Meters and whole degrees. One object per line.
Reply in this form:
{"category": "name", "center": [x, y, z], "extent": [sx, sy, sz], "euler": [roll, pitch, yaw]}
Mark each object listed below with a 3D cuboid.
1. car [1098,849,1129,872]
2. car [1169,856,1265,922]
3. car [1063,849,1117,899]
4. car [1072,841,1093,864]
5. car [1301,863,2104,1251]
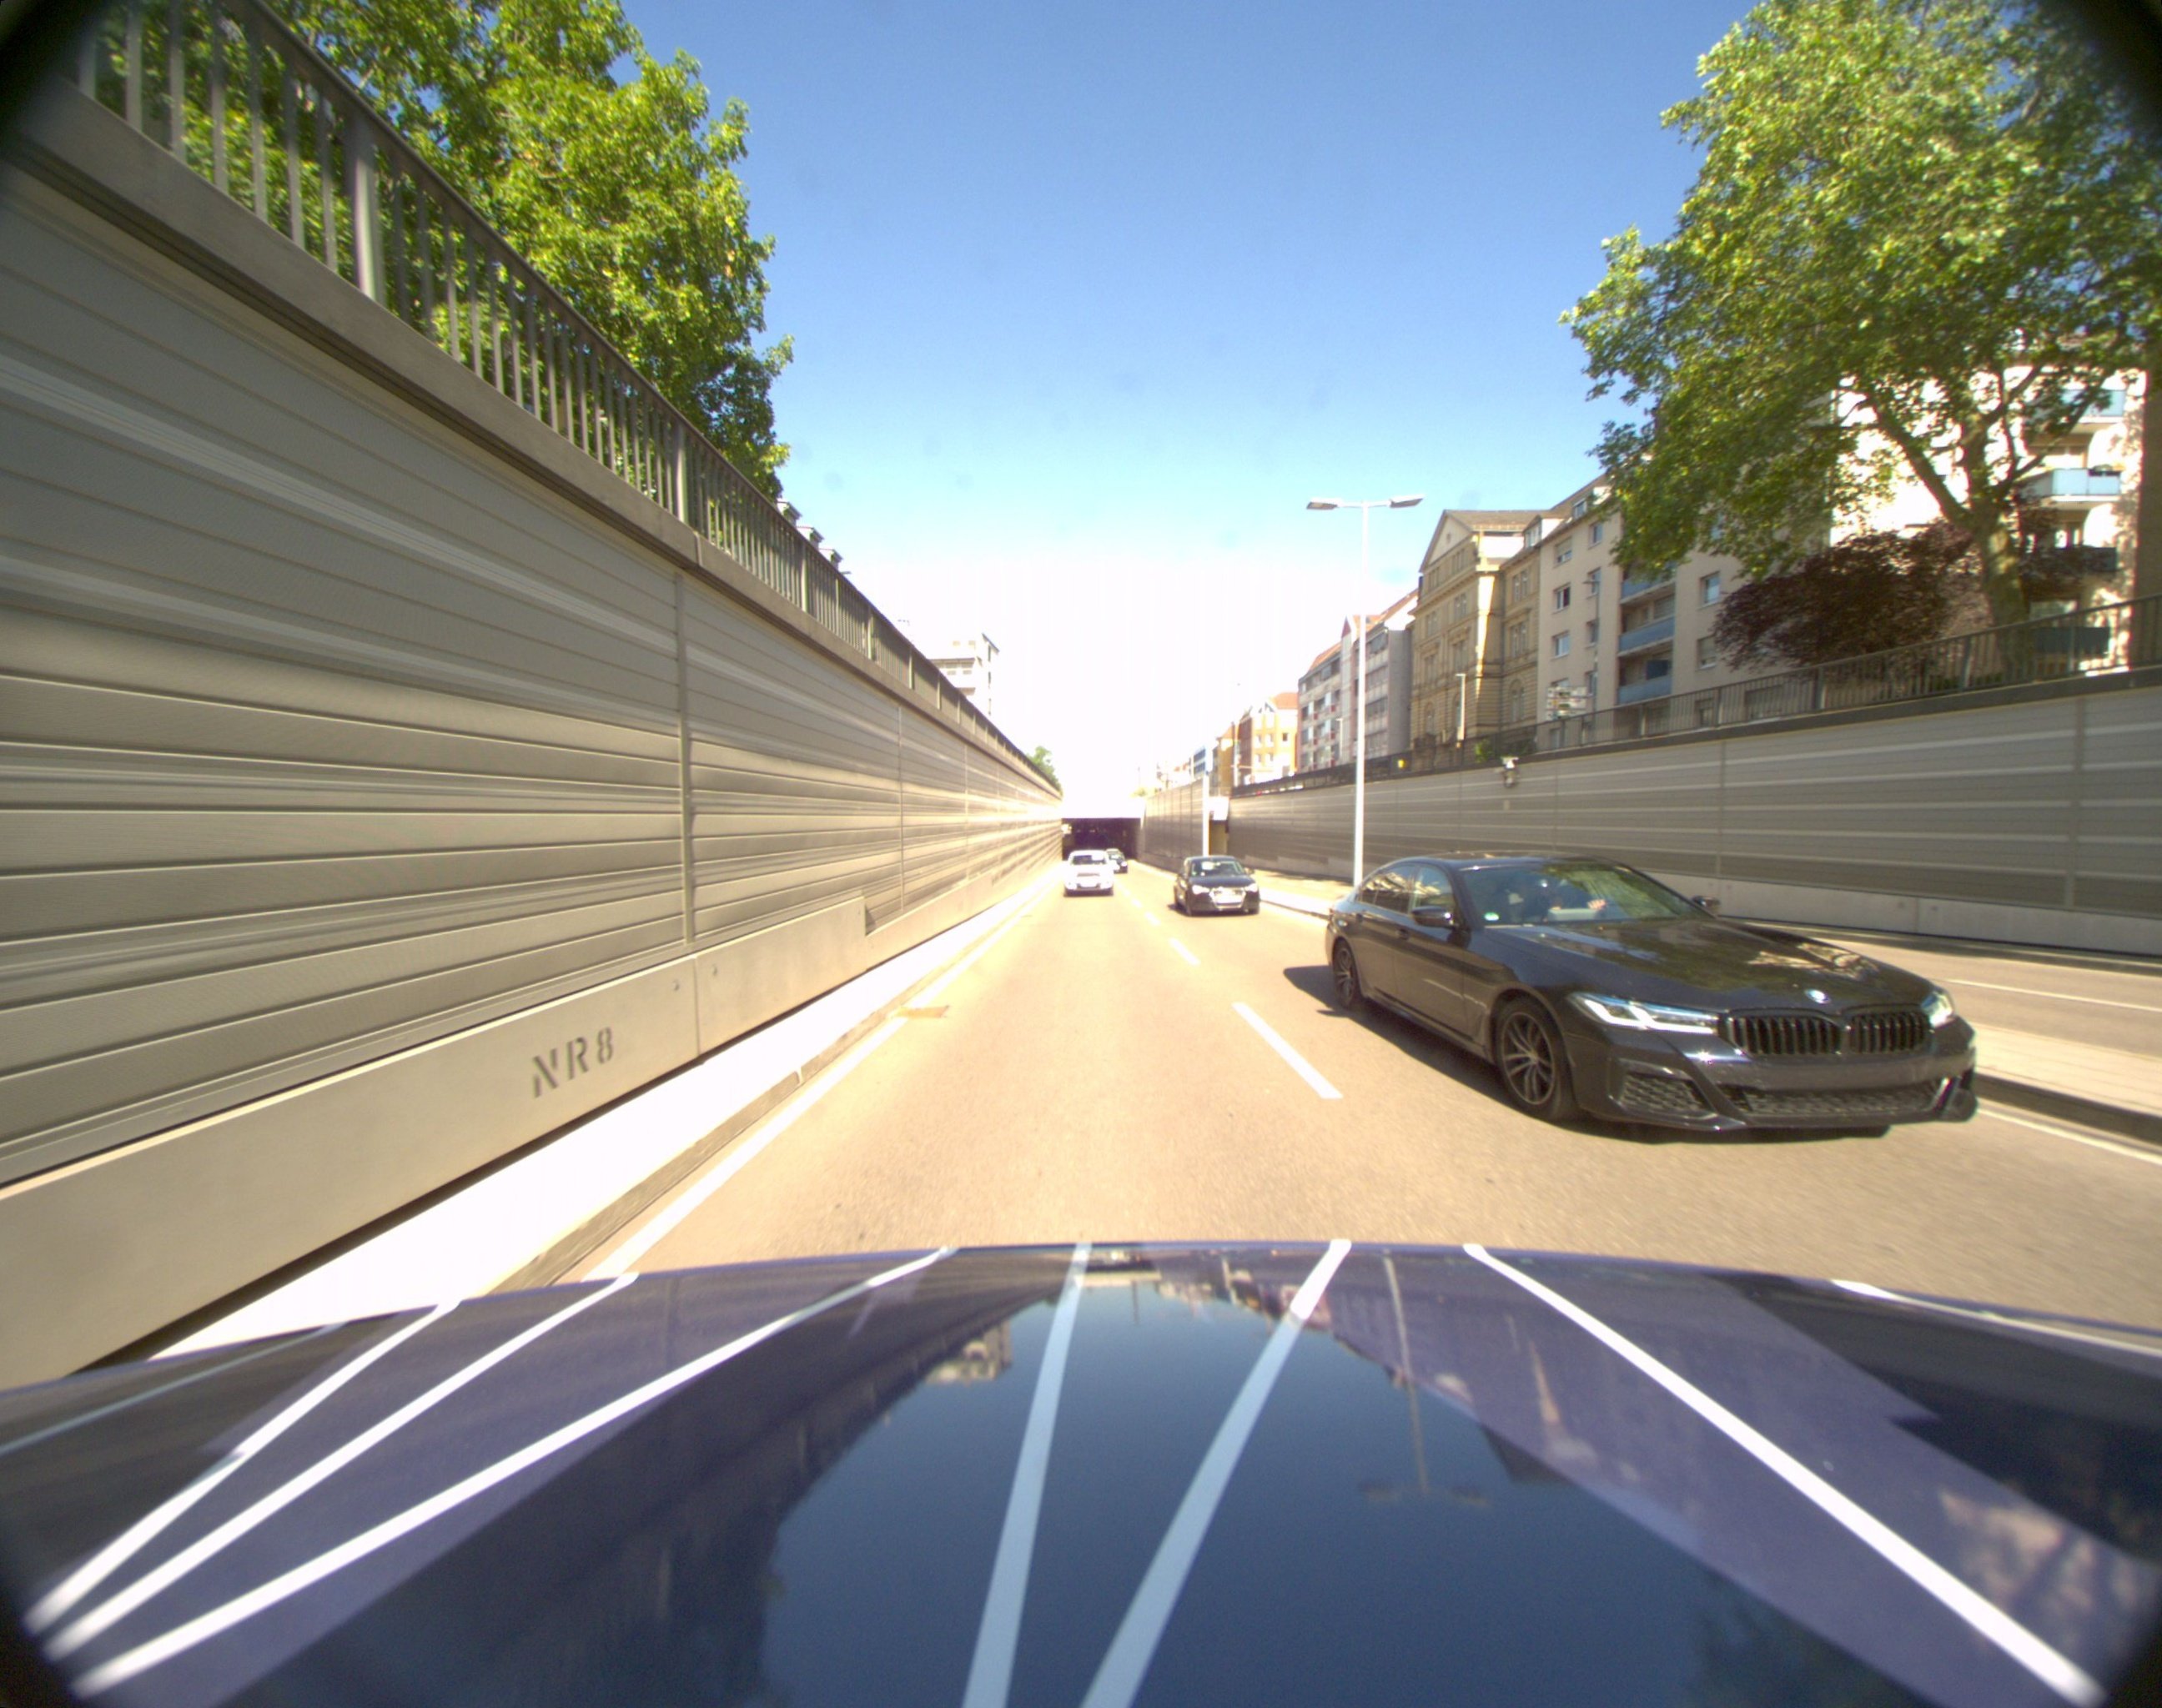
{"category": "car", "center": [2.243, 0.442, 53.041], "extent": [1.998, 1.407, 3.999], "euler": [-2, 1, 1]}
{"category": "car", "center": [3.293, 0.794, 19.063], "extent": [1.700, 1.410, 3.888], "euler": [-2, 0, 0]}
{"category": "car", "center": [0.330, 0.688, 28.788], "extent": [1.855, 1.658, 3.969], "euler": [-2, 1, 1]}
{"category": "car", "center": [0.140, -0.164, 71.227], "extent": [1.785, 2.003, 3.907], "euler": [-2, 2, 0]}
{"category": "car", "center": [3.259, 0.857, 5.589], "extent": [1.813, 1.431, 5.002], "euler": [-2, 0, 0]}
